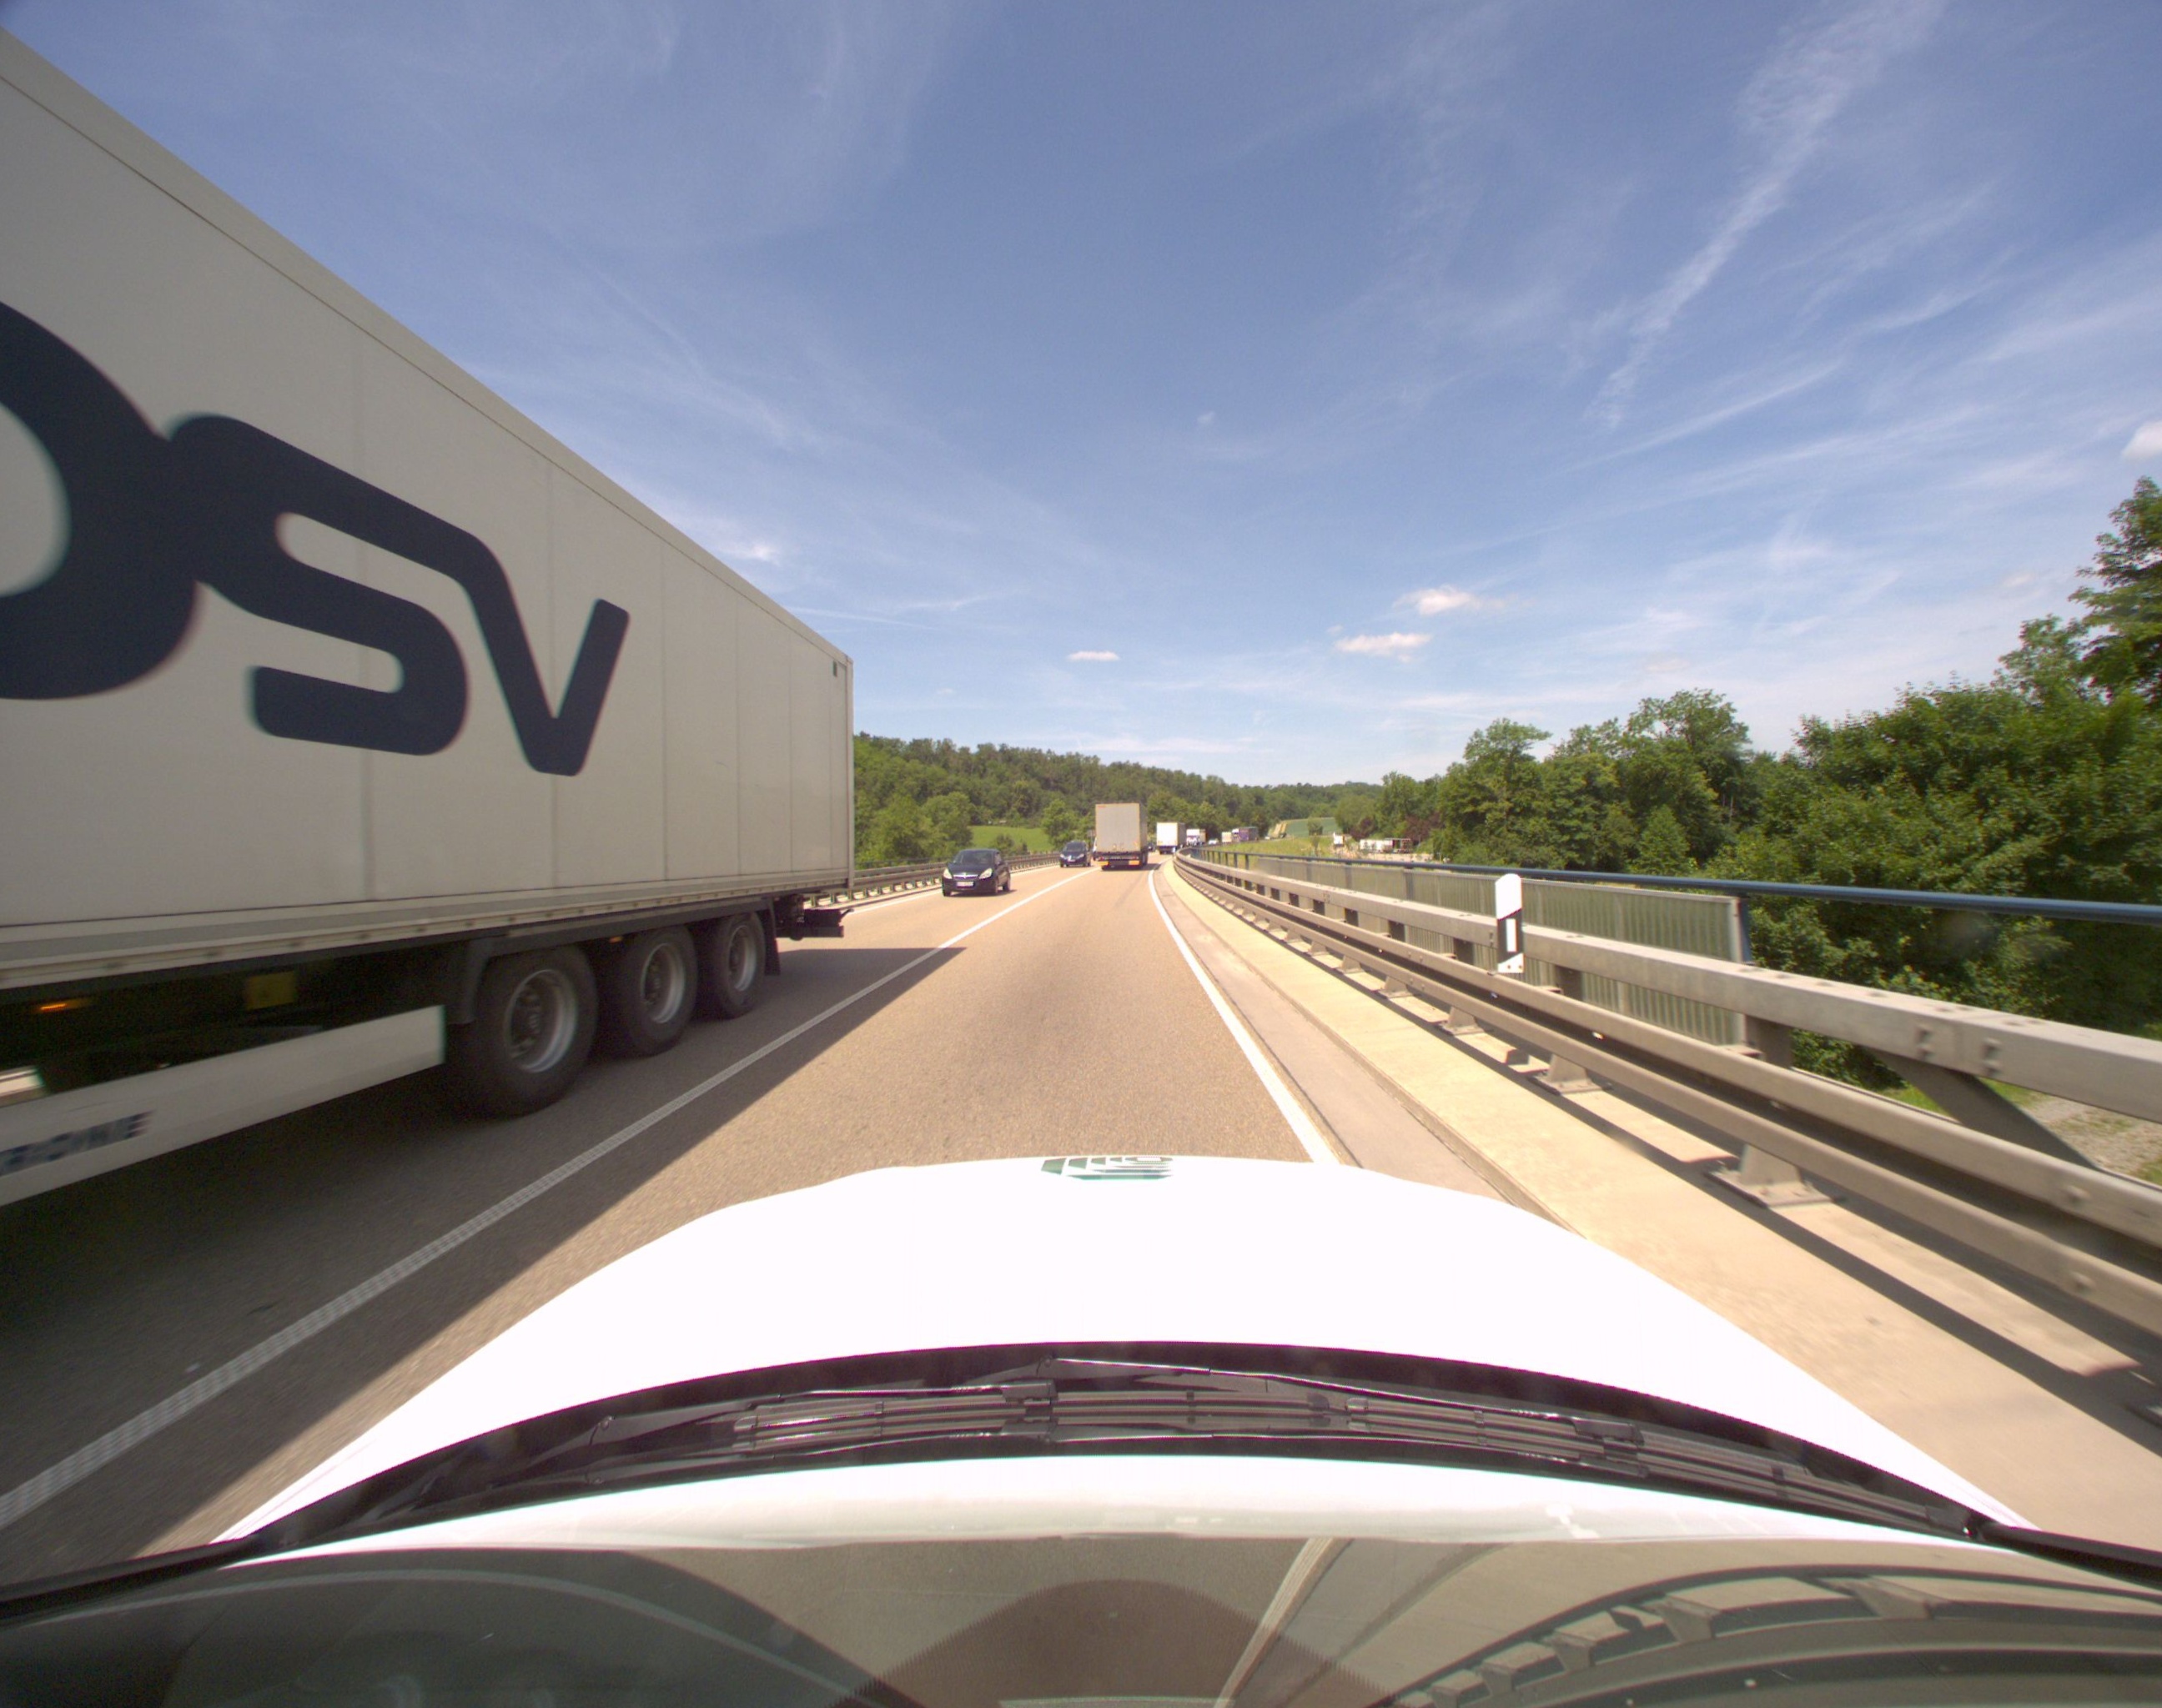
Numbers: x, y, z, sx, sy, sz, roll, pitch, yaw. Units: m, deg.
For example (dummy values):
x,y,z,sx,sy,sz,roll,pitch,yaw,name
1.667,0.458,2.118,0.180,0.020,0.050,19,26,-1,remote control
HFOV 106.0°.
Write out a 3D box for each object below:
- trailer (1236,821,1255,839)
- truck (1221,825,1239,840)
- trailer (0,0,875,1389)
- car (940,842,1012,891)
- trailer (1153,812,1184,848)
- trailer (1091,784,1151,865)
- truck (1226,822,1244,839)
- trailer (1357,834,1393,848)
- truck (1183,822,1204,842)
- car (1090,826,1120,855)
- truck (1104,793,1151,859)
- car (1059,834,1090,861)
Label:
x,y,z,sx,sy,sz,roll,pitch,yaw,name
41.960,-6.073,207.511,3.620,4.262,12.248,-1,1,16,trailer
34.239,-4.927,186.649,3.199,3.365,11.922,-1,1,14,truck
-4.459,-0.602,3.852,2.842,4.187,14.504,-1,1,2,trailer
-3.312,0.344,26.408,1.655,1.457,3.896,-1,1,2,car
11.522,-3.004,105.912,3.346,4.316,13.899,-1,1,9,trailer
2.856,-1.844,52.805,3.103,4.499,13.910,-1,2,6,trailer
41.346,-6.286,218.160,3.035,4.262,9.918,-1,1,20,truck
71.813,-3.181,199.288,2.720,3.327,11.851,-1,2,-11,trailer
23.107,-4.560,166.995,2.892,3.803,9.750,-1,2,16,truck
2.351,-1.255,77.490,2.167,2.559,5.810,-1,0,8,car
3.498,-2.045,59.426,3.103,4.494,6.823,-1,1,6,truck
-0.406,-0.477,57.213,1.845,1.798,4.982,-1,1,3,car
